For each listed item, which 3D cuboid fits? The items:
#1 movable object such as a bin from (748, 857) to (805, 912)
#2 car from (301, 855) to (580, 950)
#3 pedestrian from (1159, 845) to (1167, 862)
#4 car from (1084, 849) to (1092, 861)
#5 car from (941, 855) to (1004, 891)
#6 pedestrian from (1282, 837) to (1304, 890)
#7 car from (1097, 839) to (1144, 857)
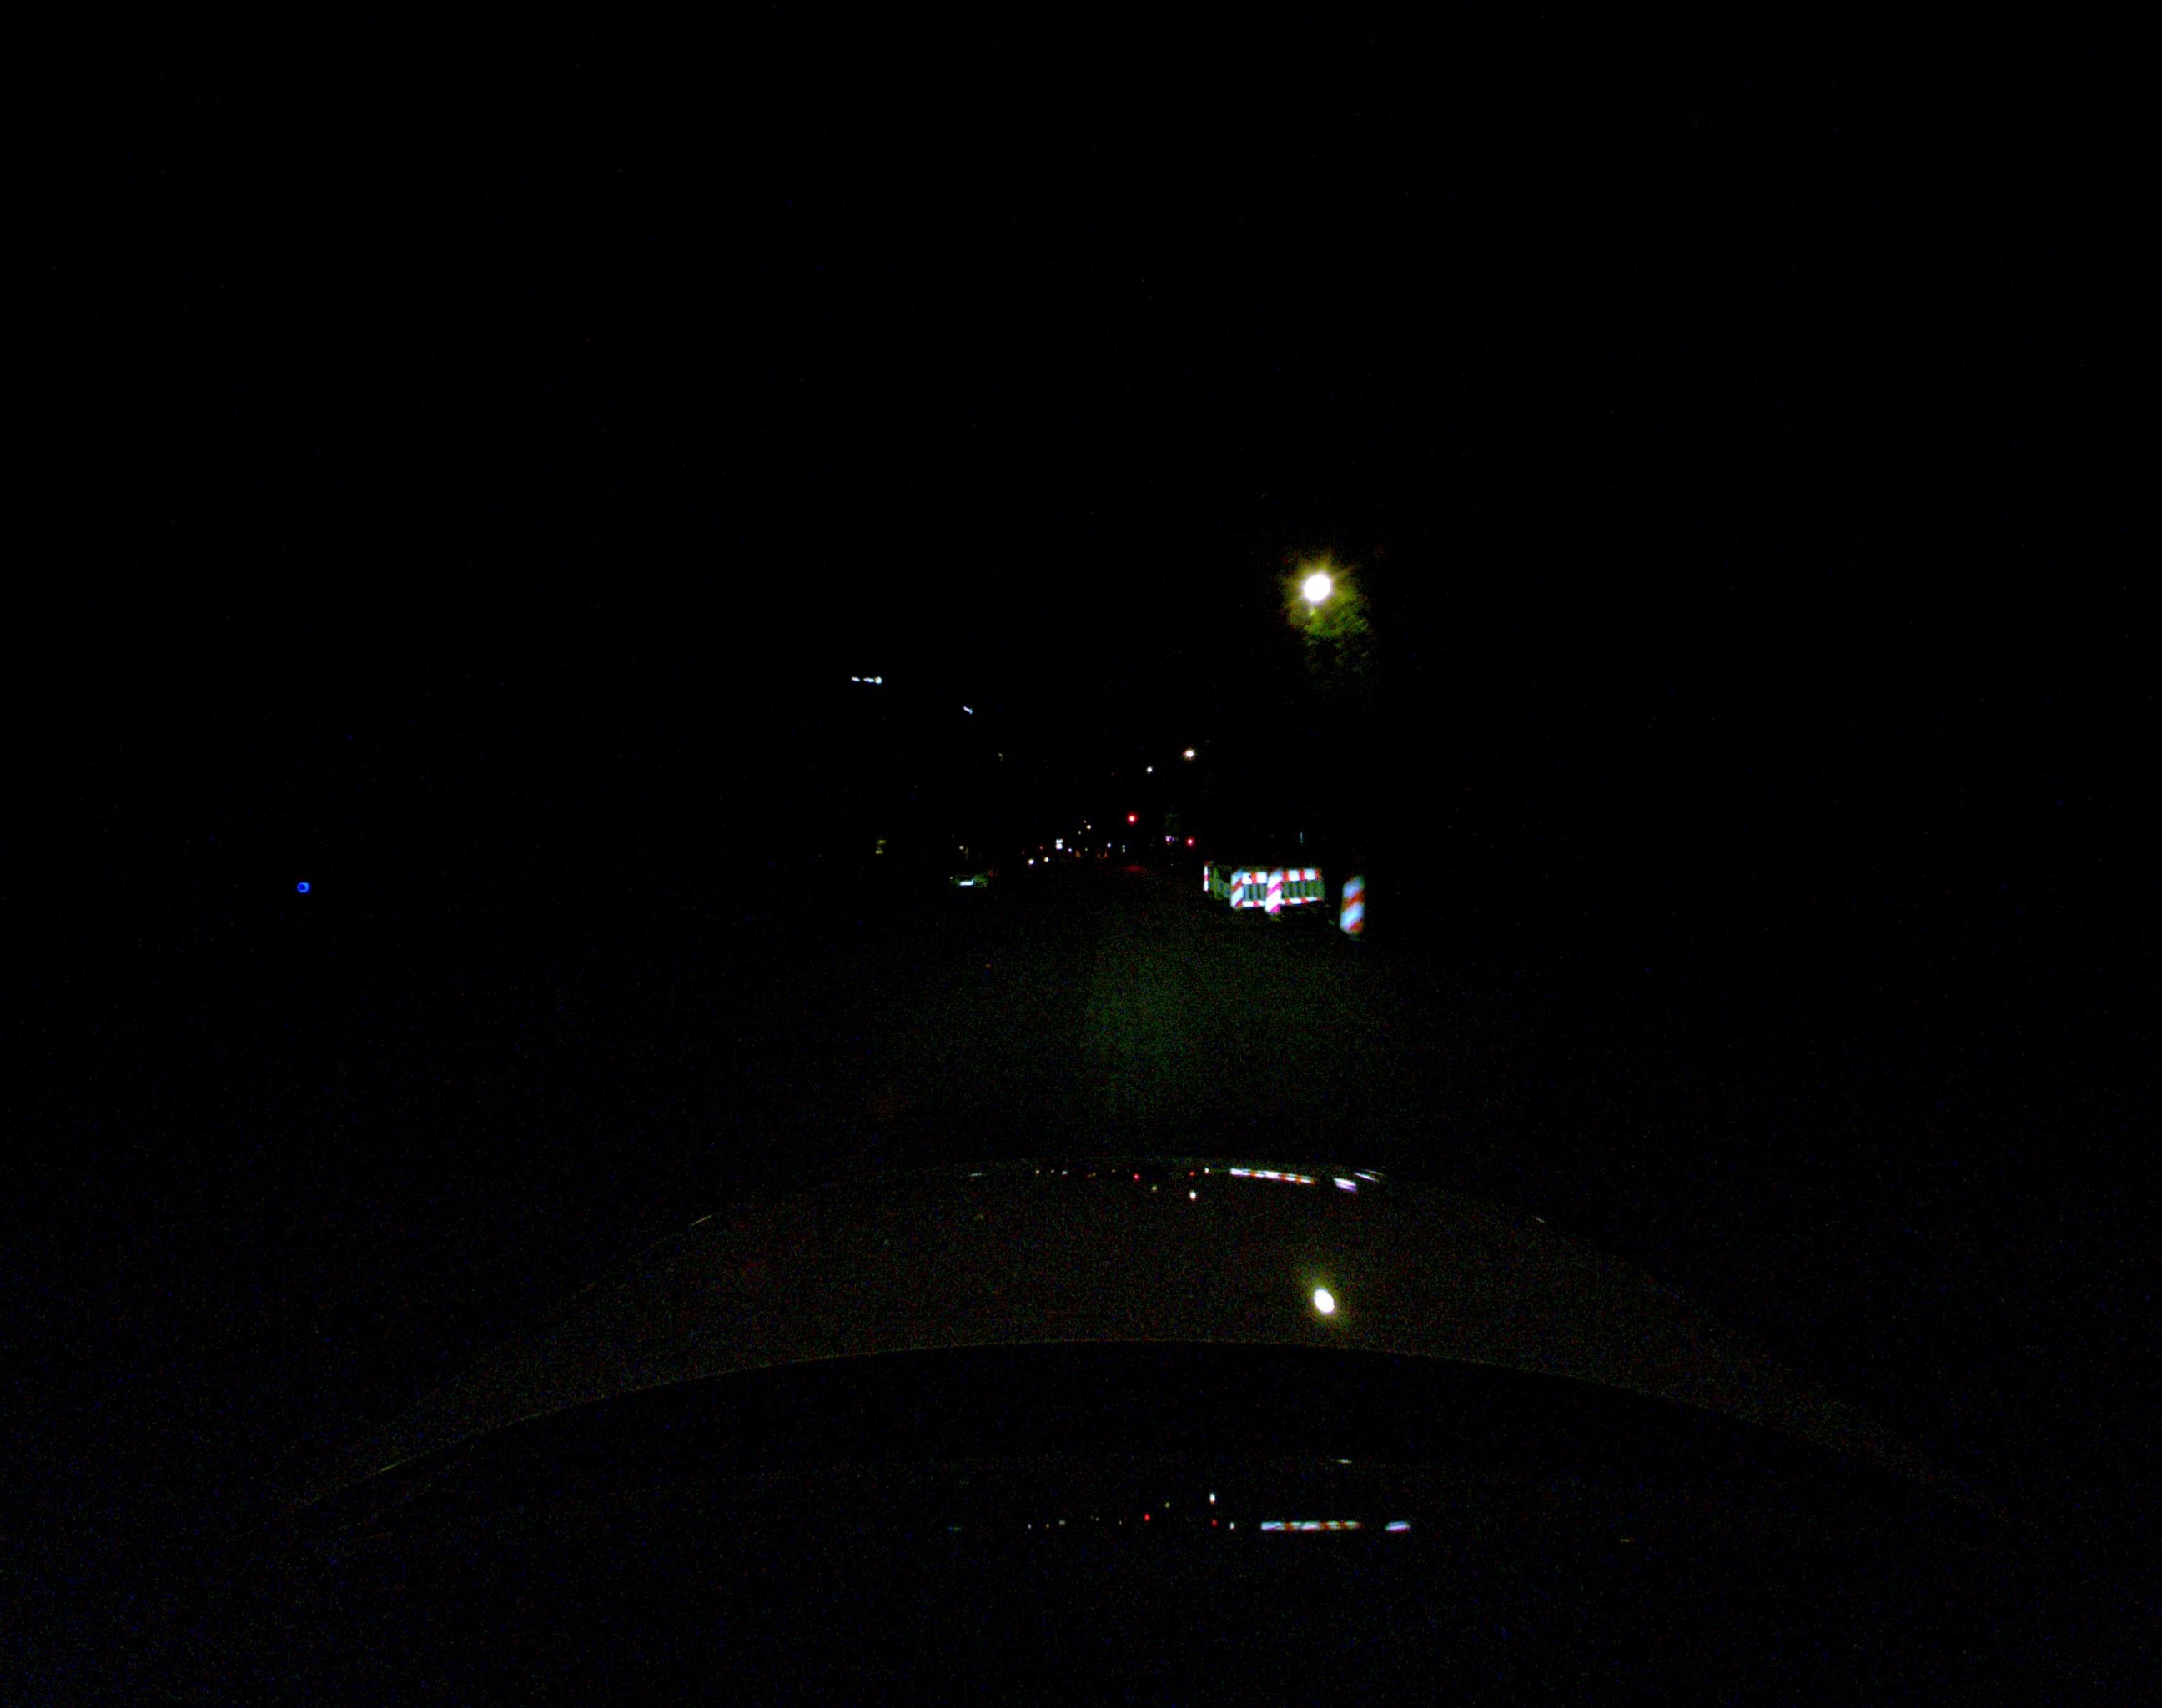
[{"bbox_3d":[-8.677,0.855,23.243,1.161,1.495,1.065,-2,0,-1],"label":"movable object such as a bin"},{"bbox_3d":[-12.375,0.905,15.922,3.972,1.571,1.818,-2,0,2],"label":"car"},{"bbox_3d":[9.505,-0.073,94.233,0.738,1.981,0.622,-2,0,-14],"label":"pedestrian"},{"bbox_3d":[1.794,0.273,217.932,1.989,2.974,3.996,-2,0,-3],"label":"car"},{"bbox_3d":[-4.667,0.790,35.771,1.903,1.404,4.342,-2,0,3],"label":"car"},{"bbox_3d":[7.477,0.329,28.777,0.568,1.852,0.821,-2,0,3],"label":"pedestrian"},{"bbox_3d":[11.163,-1.786,230.869,12.392,4.709,4.791,-2,0,-12],"label":"car"}]
